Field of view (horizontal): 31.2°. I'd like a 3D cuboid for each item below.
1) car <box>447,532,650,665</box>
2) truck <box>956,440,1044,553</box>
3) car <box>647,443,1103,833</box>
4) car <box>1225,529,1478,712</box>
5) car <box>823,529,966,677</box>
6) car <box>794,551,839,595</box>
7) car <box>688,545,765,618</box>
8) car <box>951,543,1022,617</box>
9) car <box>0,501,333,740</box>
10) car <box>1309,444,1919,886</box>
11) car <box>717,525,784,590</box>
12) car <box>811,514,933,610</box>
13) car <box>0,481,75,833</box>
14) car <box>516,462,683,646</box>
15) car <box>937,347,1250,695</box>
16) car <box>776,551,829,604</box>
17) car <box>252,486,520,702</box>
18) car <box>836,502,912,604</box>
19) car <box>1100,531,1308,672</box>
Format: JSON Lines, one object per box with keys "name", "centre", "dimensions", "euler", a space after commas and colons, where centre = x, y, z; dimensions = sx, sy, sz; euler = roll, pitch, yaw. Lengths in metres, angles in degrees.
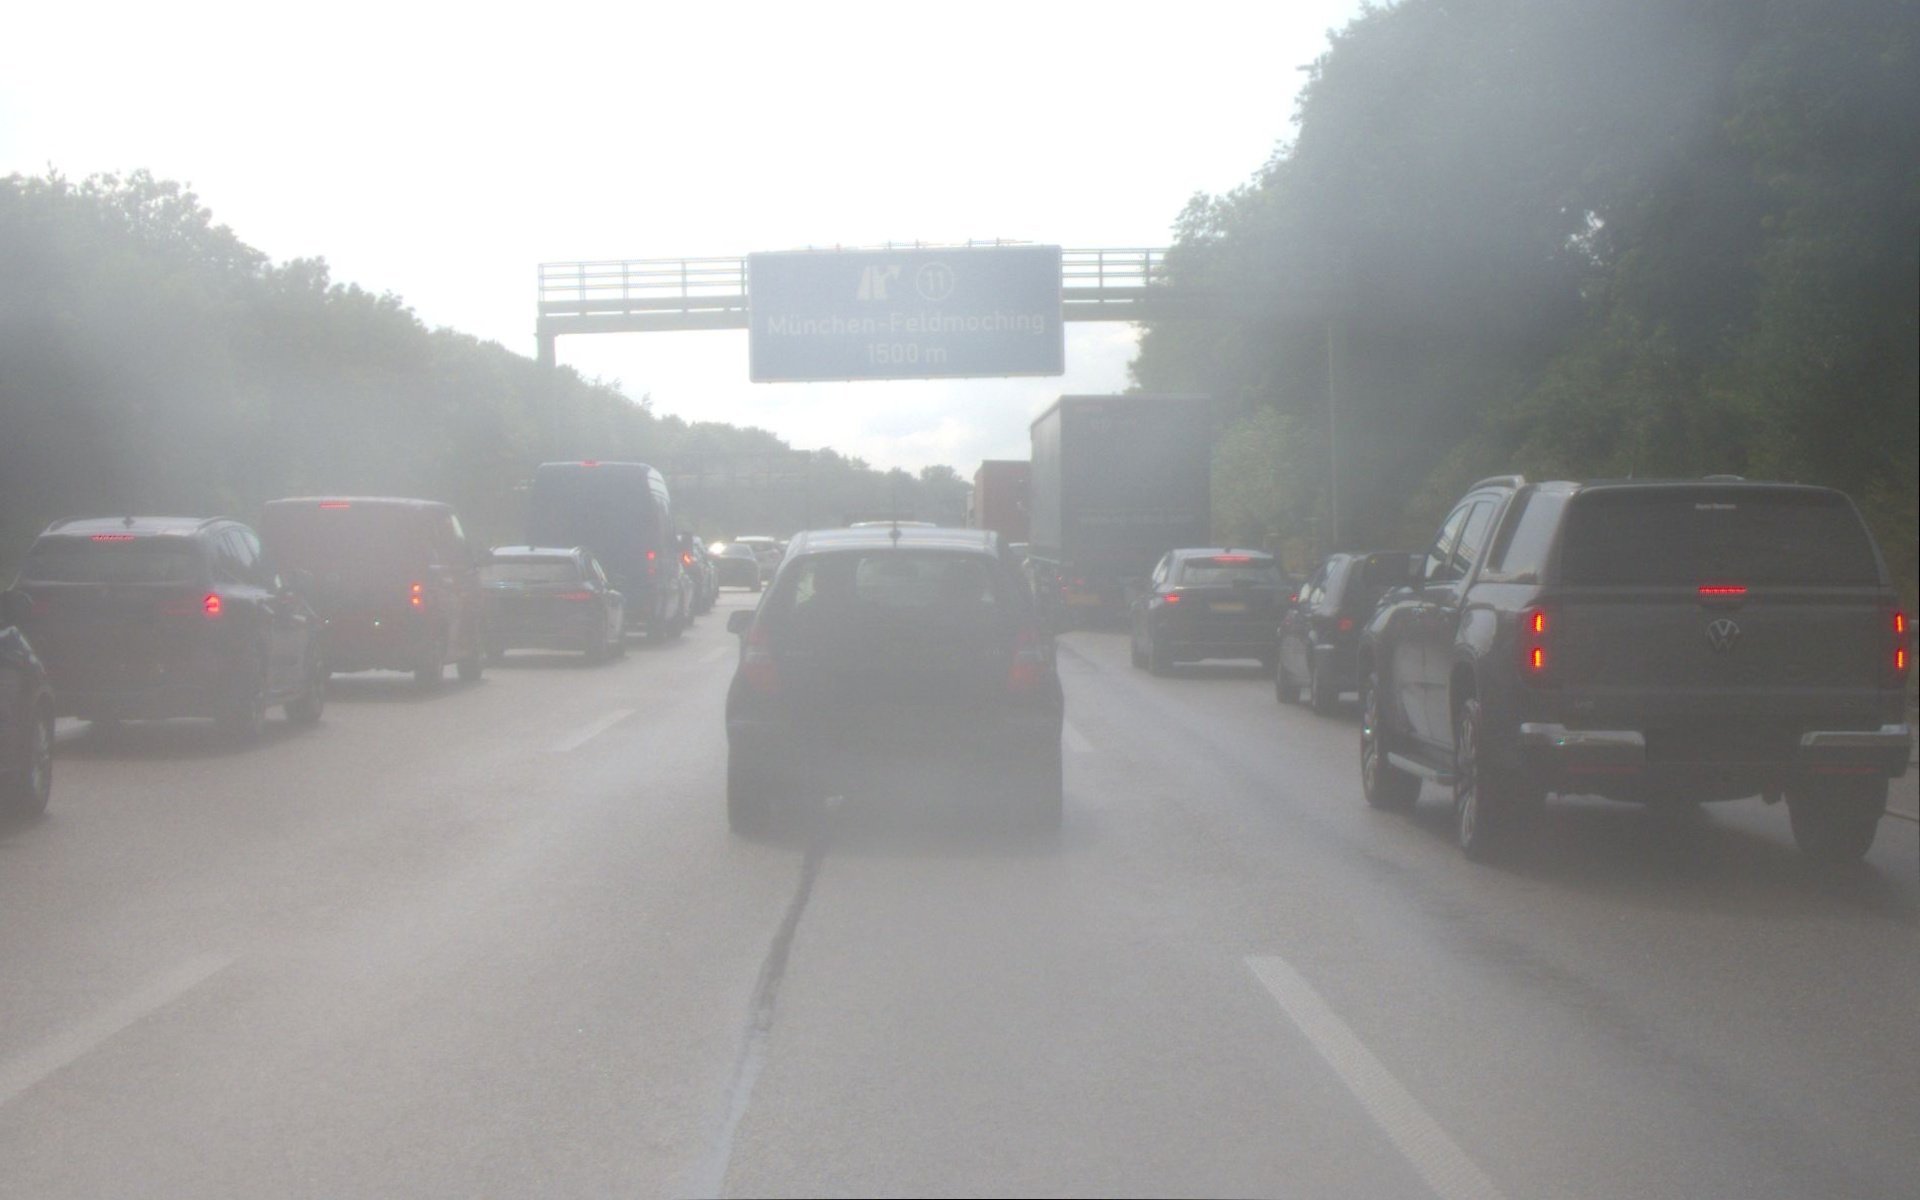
{"name": "car", "centre": [-5.083, -0.039, 43.050], "dimensions": [1.993, 1.559, 4.756], "euler": [0, 1, -1]}
{"name": "truck", "centre": [1.309, -3.394, 114.705], "dimensions": [2.775, 3.619, 5.917], "euler": [0, 1, -1]}
{"name": "car", "centre": [-0.530, 0.167, 19.703], "dimensions": [2.274, 1.948, 4.822], "euler": [0, 1, -2]}
{"name": "car", "centre": [3.408, 0.151, 30.566], "dimensions": [1.590, 1.511, 3.976], "euler": [0, 1, -3]}
{"name": "car", "centre": [-0.878, 0.012, 44.036], "dimensions": [1.692, 1.798, 3.976], "euler": [0, 1, -3]}
{"name": "car", "centre": [-6.914, -1.316, 166.081], "dimensions": [1.993, 2.108, 4.889], "euler": [0, 1, -1]}
{"name": "car", "centre": [-6.929, -0.553, 102.328], "dimensions": [1.993, 2.108, 4.889], "euler": [0, 1, -1]}
{"name": "car", "centre": [0.751, -0.604, 101.707], "dimensions": [1.993, 2.108, 4.889], "euler": [0, 1, -1]}
{"name": "car", "centre": [-6.032, 0.117, 26.358], "dimensions": [1.908, 1.631, 4.617], "euler": [-1, 1, -4]}
{"name": "car", "centre": [3.149, 0.254, 17.800], "dimensions": [1.941, 1.912, 5.652], "euler": [0, 1, -2]}
{"name": "car", "centre": [-7.032, -1.433, 115.758], "dimensions": [1.993, 2.108, 4.889], "euler": [0, 1, -1]}
{"name": "car", "centre": [-1.471, -0.621, 56.317], "dimensions": [1.864, 1.511, 3.976], "euler": [0, 1, -3]}
{"name": "car", "centre": [-5.722, 0.288, 17.182], "dimensions": [1.692, 1.798, 3.976], "euler": [0, 1, -2]}
{"name": "car", "centre": [-5.356, -0.689, 51.684], "dimensions": [1.993, 2.606, 5.260], "euler": [0, 1, -1]}
{"name": "car", "centre": [2.185, -1.417, 66.205], "dimensions": [4.403, 5.810, 16.820], "euler": [0, 1, -3]}
{"name": "car", "centre": [-6.411, -0.908, 140.238], "dimensions": [1.993, 2.108, 4.889], "euler": [0, 1, -1]}
{"name": "car", "centre": [-5.796, -0.081, 35.280], "dimensions": [1.978, 2.047, 4.756], "euler": [0, 1, -1]}
{"name": "car", "centre": [-2.333, -1.290, 94.779], "dimensions": [1.993, 2.737, 5.260], "euler": [0, 1, -1]}
{"name": "car", "centre": [2.720, -0.003, 39.186], "dimensions": [1.864, 1.511, 3.976], "euler": [0, 1, -3]}
